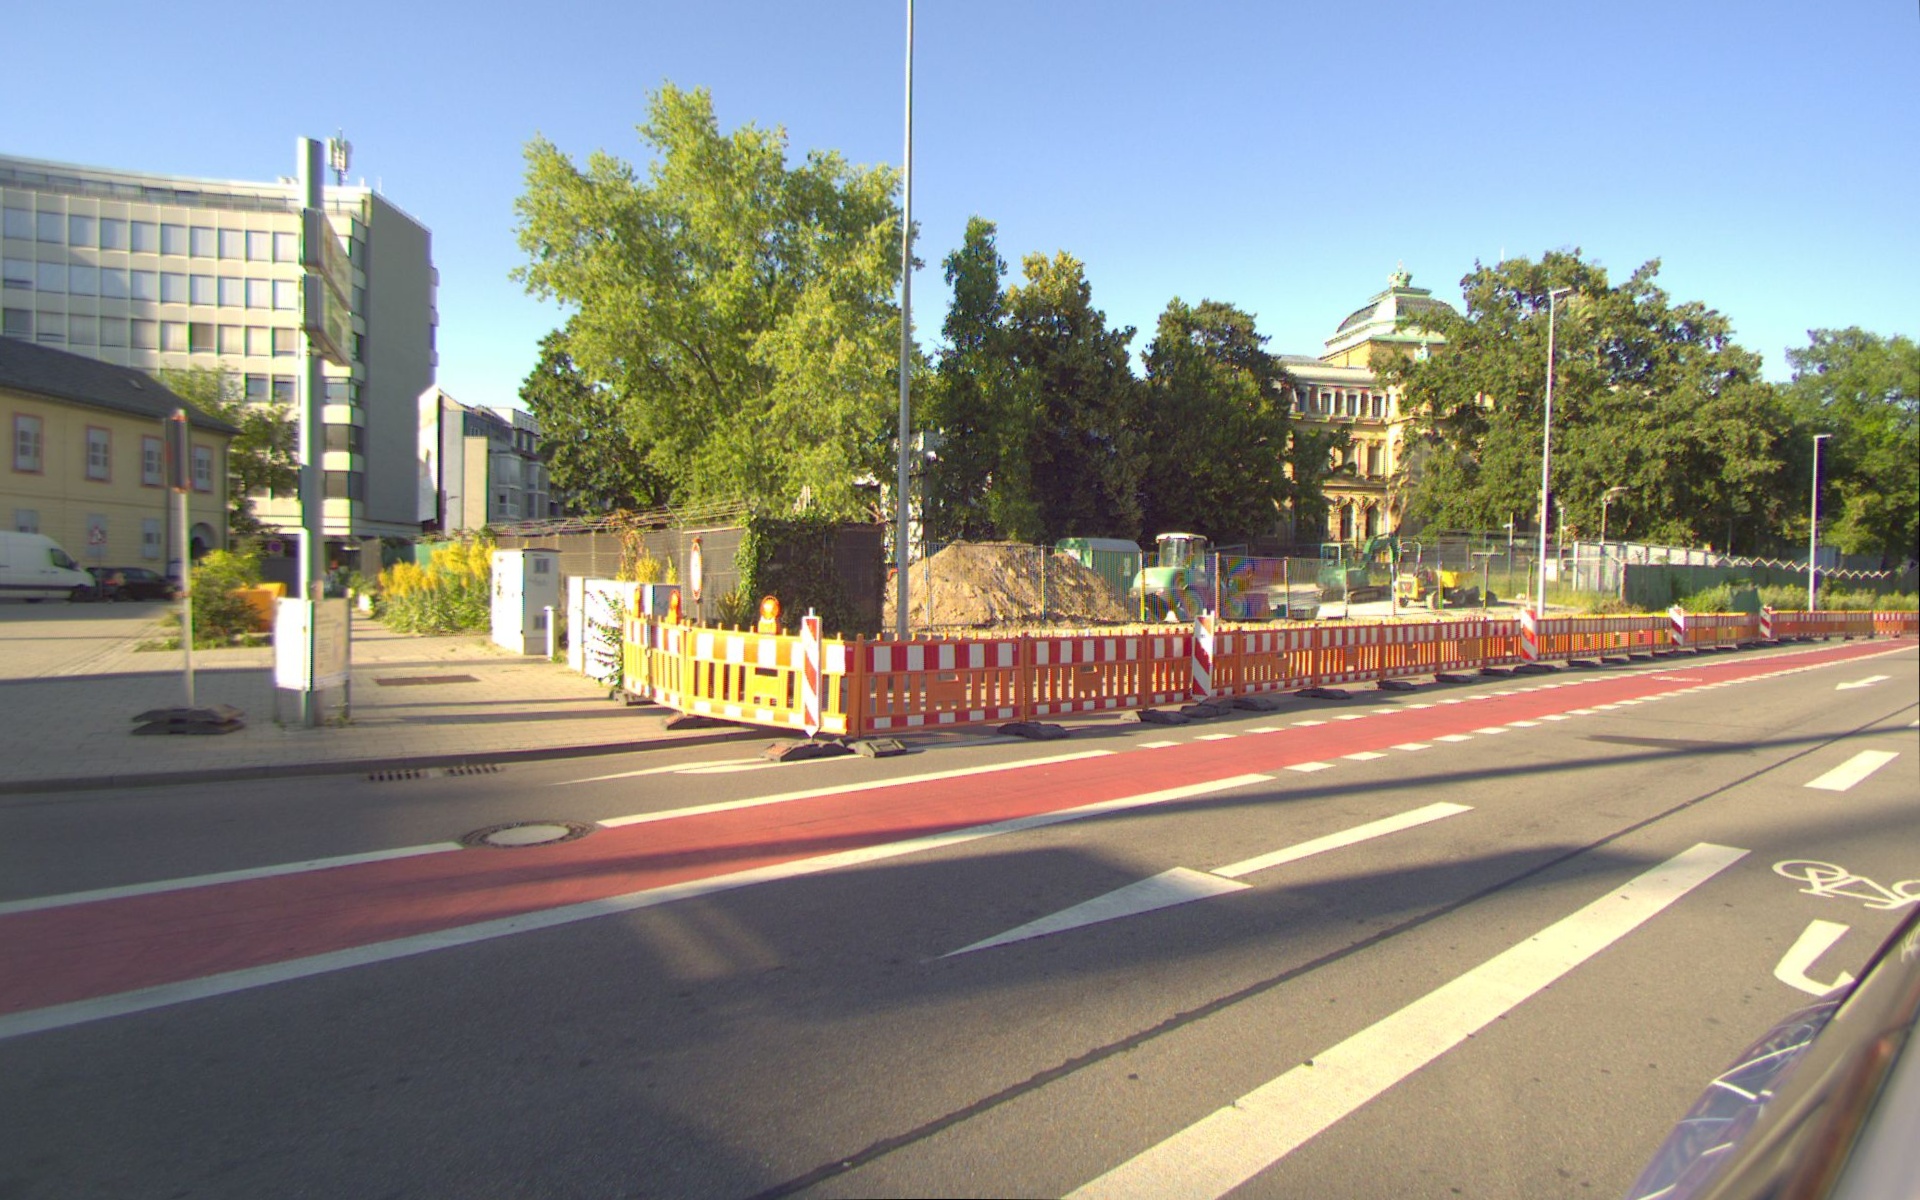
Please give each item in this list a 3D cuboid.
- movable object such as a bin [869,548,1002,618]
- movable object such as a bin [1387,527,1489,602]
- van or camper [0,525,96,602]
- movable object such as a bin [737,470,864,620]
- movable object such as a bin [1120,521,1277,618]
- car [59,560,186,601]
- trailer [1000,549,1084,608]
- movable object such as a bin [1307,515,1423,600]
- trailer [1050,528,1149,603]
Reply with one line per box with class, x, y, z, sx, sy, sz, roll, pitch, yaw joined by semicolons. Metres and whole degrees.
movable object such as a bin;-0.996;-0.744;38.578;2.189;2.349;5.037;-7;7;-43
movable object such as a bin;19.768;-1.427;41.826;3.922;2.940;2.001;0;1;-33
van or camper;-34.136;-1.298;36.035;1.962;2.668;5.607;1;1;0
movable object such as a bin;-4.535;-1.421;27.741;2.801;3.602;6.095;1;1;-15
movable object such as a bin;7.415;-0.913;31.216;4.855;2.737;2.280;0;2;-41
car;-34.533;-0.829;41.884;1.962;1.593;4.001;1;1;0
trailer;3.609;-0.997;44.746;2.189;2.349;2.950;-7;7;-43
movable object such as a bin;18.234;-1.861;45.488;5.395;3.601;2.283;0;1;-36
trailer;6.515;-1.650;47.140;3.923;3.125;2.612;-7;7;-43
